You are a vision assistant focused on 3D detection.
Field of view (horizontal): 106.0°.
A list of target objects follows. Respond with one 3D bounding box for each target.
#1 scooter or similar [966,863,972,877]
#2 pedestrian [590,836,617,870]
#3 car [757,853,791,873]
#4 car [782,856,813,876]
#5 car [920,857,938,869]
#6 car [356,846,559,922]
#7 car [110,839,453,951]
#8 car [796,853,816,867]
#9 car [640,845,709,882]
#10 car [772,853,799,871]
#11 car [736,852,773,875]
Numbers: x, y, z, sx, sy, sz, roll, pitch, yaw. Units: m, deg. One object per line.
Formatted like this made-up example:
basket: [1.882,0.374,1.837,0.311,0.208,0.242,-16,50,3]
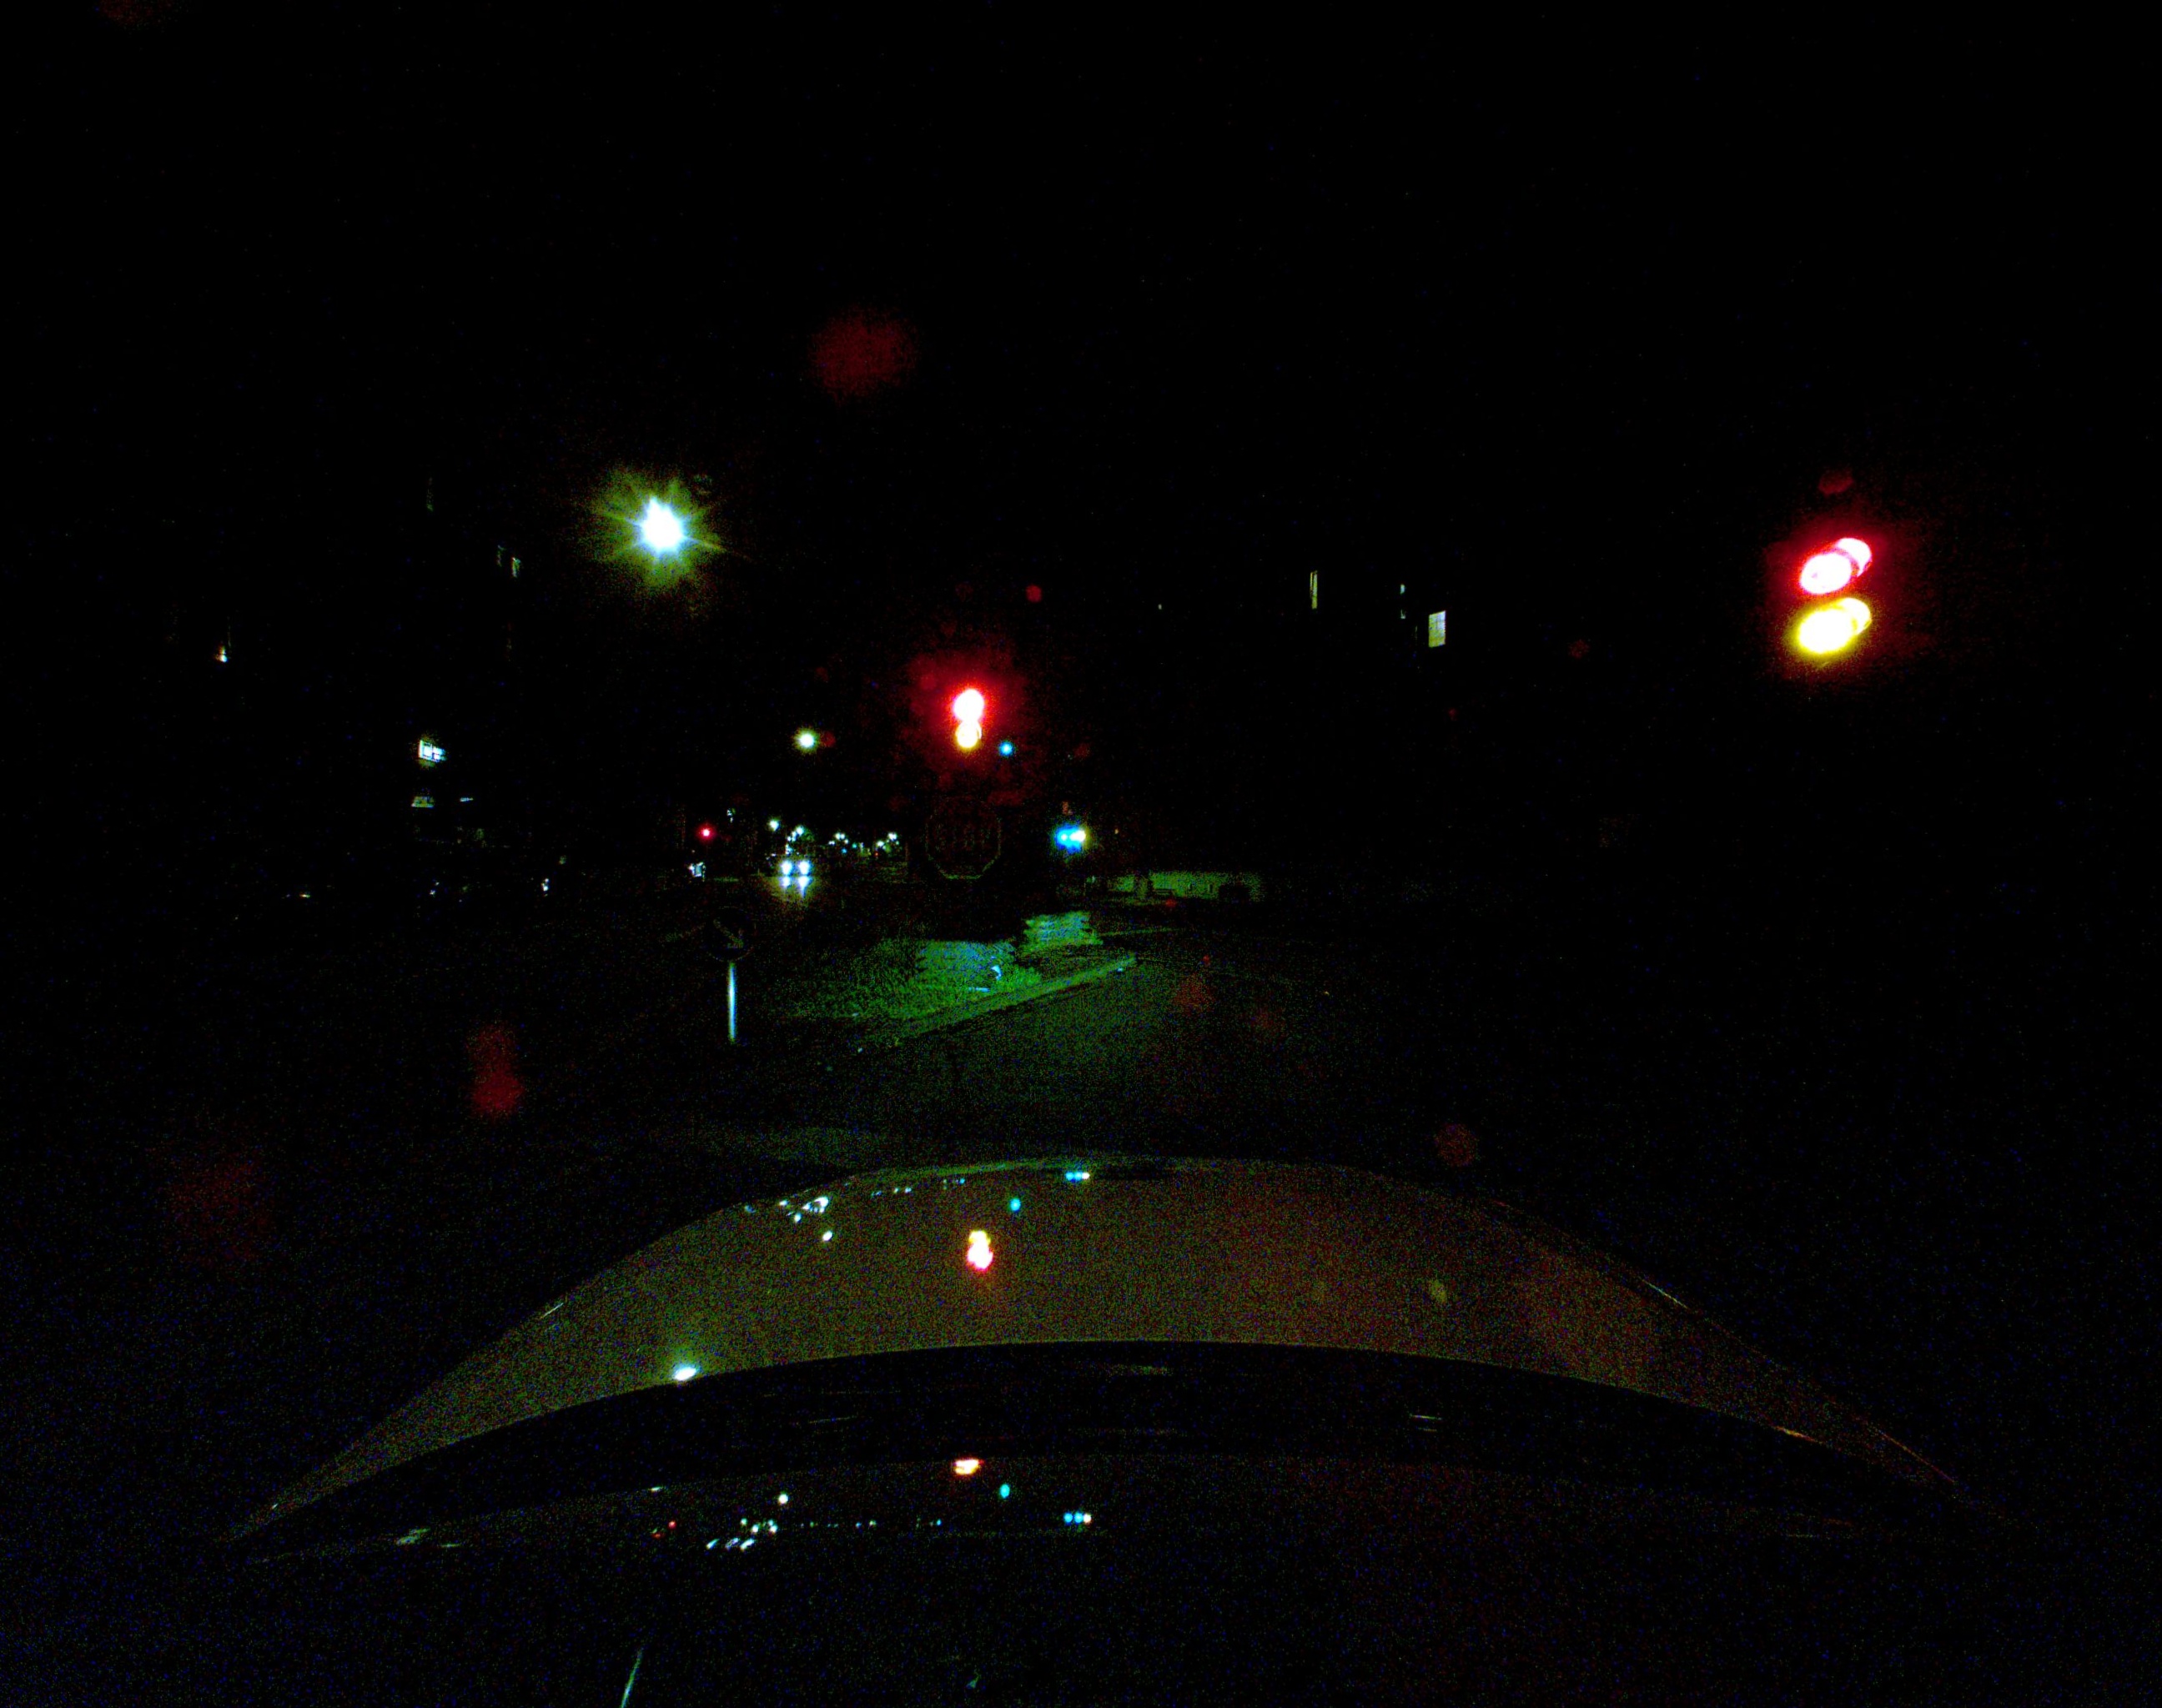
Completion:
scooter or similar: [-9.552,1.360,69.246,0.421,1.130,1.490,1,0,-5]
pedestrian: [-23.788,-0.046,40.600,0.708,1.690,1.123,1,-1,-3]
car: [-25.365,0.708,67.462,1.785,1.491,4.313,4,-1,-11]
car: [-20.726,0.847,59.667,1.717,1.429,3.983,0,0,-13]
car: [-19.668,1.135,105.074,1.738,1.460,4.700,2,-1,-17]
car: [-13.712,0.624,18.298,1.863,1.433,4.423,3,-1,-13]
car: [-12.590,0.592,13.338,1.863,1.479,4.453,2,-1,-13]
car: [-31.591,0.676,93.476,1.787,1.416,4.106,3,-1,-15]
car: [-19.202,0.451,38.659,1.887,1.596,4.008,3,-1,-11]
car: [-26.534,0.695,73.165,1.787,1.491,3.980,4,-1,-14]
car: [-23.621,0.703,59.072,1.592,1.491,3.688,4,-1,-8]
